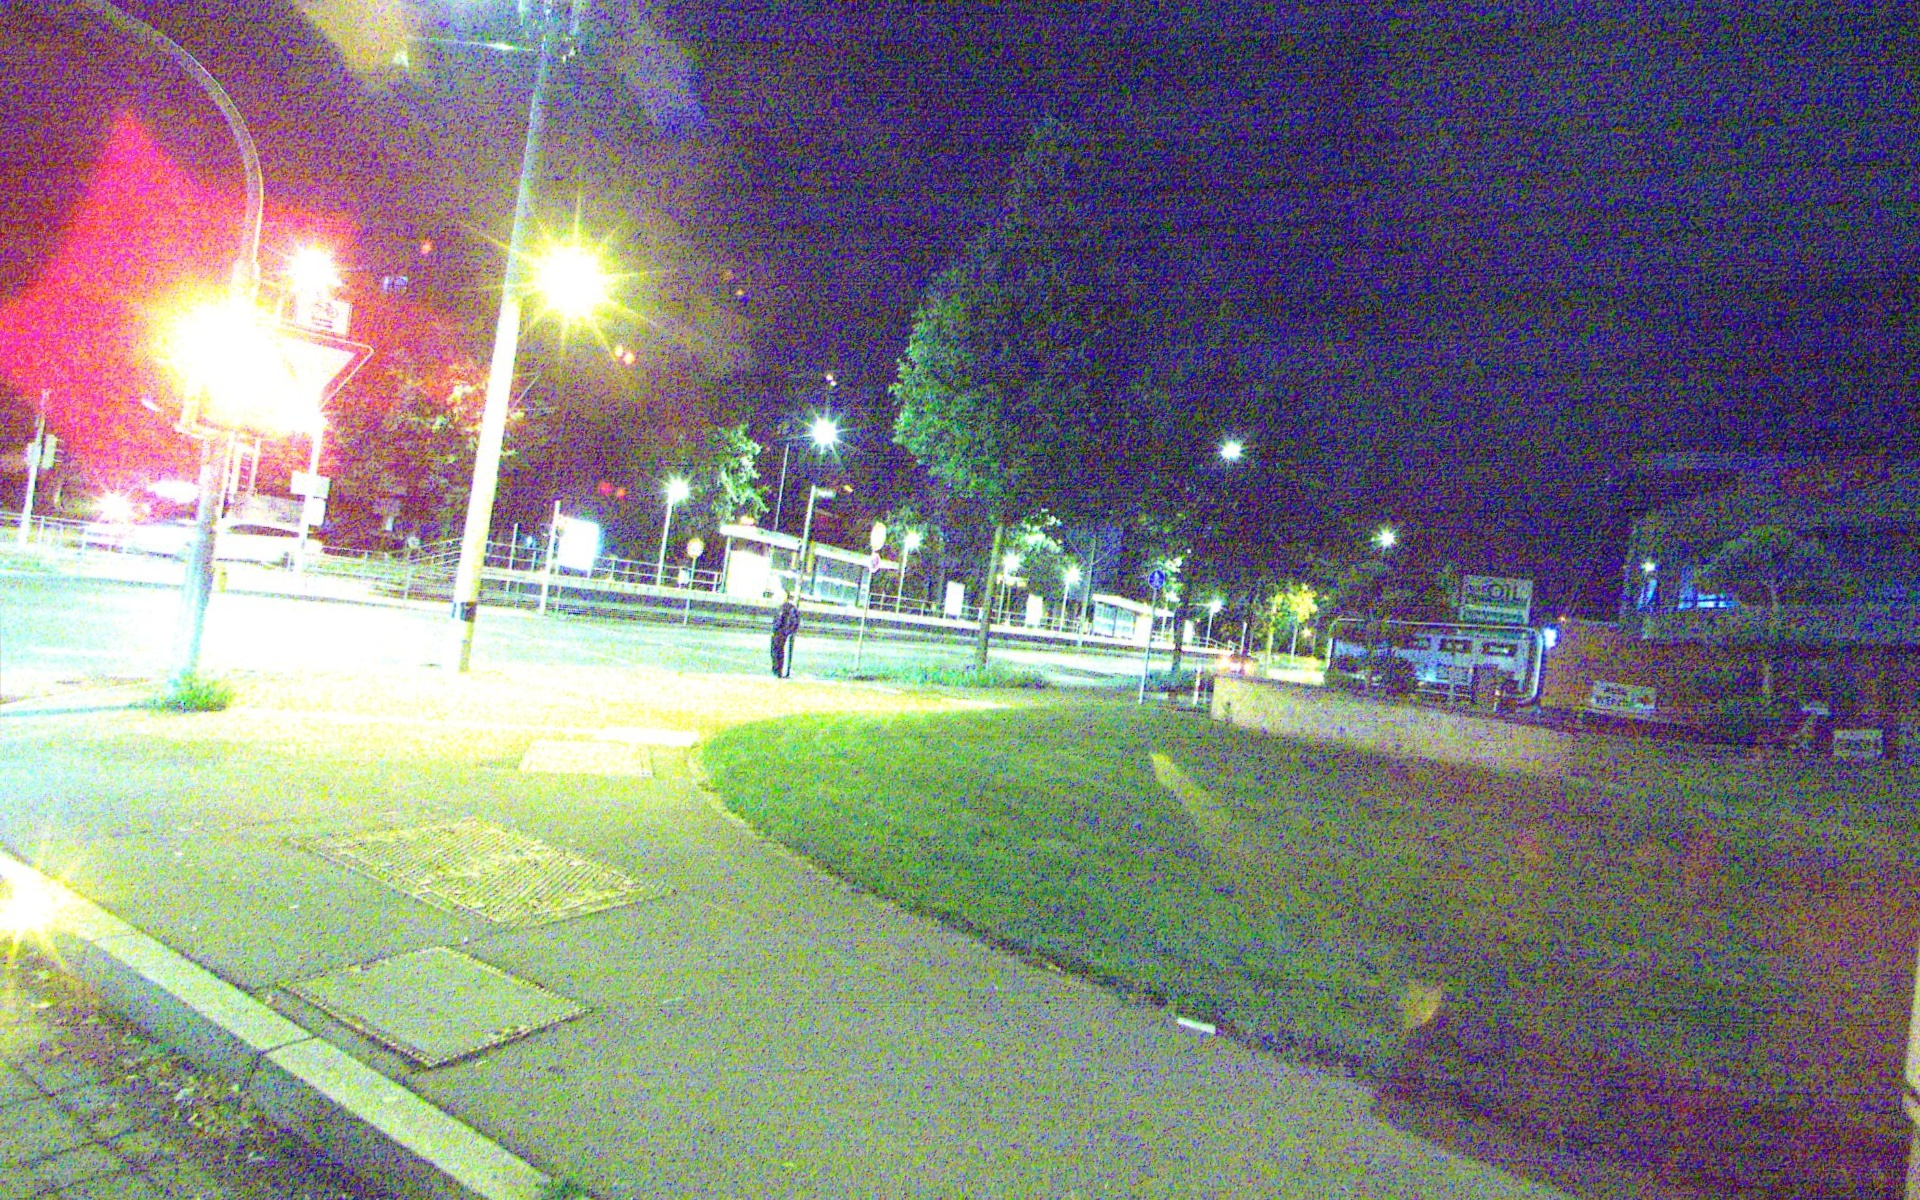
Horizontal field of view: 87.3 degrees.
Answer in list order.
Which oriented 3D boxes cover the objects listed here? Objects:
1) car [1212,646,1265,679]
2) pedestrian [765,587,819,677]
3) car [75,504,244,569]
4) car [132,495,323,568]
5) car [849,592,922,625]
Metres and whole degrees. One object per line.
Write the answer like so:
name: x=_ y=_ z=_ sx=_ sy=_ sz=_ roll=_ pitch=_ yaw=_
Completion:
car: x=15.437 y=3.473 z=55.648 sx=1.631 sy=1.492 sz=3.880 roll=10 pitch=1 yaw=32
pedestrian: x=-3.285 y=0.614 z=19.618 sx=0.867 sy=1.677 sz=0.835 roll=2 pitch=1 yaw=-18
car: x=-28.398 y=-2.224 z=35.809 sx=1.857 sy=1.603 sz=4.240 roll=5 pitch=-3 yaw=34
car: x=-23.664 y=-2.174 z=32.684 sx=1.816 sy=1.604 sz=4.574 roll=8 pitch=0 yaw=33
car: x=-4.392 y=0.527 z=59.956 sx=1.822 sy=1.437 sz=4.429 roll=6 pitch=-1 yaw=35
